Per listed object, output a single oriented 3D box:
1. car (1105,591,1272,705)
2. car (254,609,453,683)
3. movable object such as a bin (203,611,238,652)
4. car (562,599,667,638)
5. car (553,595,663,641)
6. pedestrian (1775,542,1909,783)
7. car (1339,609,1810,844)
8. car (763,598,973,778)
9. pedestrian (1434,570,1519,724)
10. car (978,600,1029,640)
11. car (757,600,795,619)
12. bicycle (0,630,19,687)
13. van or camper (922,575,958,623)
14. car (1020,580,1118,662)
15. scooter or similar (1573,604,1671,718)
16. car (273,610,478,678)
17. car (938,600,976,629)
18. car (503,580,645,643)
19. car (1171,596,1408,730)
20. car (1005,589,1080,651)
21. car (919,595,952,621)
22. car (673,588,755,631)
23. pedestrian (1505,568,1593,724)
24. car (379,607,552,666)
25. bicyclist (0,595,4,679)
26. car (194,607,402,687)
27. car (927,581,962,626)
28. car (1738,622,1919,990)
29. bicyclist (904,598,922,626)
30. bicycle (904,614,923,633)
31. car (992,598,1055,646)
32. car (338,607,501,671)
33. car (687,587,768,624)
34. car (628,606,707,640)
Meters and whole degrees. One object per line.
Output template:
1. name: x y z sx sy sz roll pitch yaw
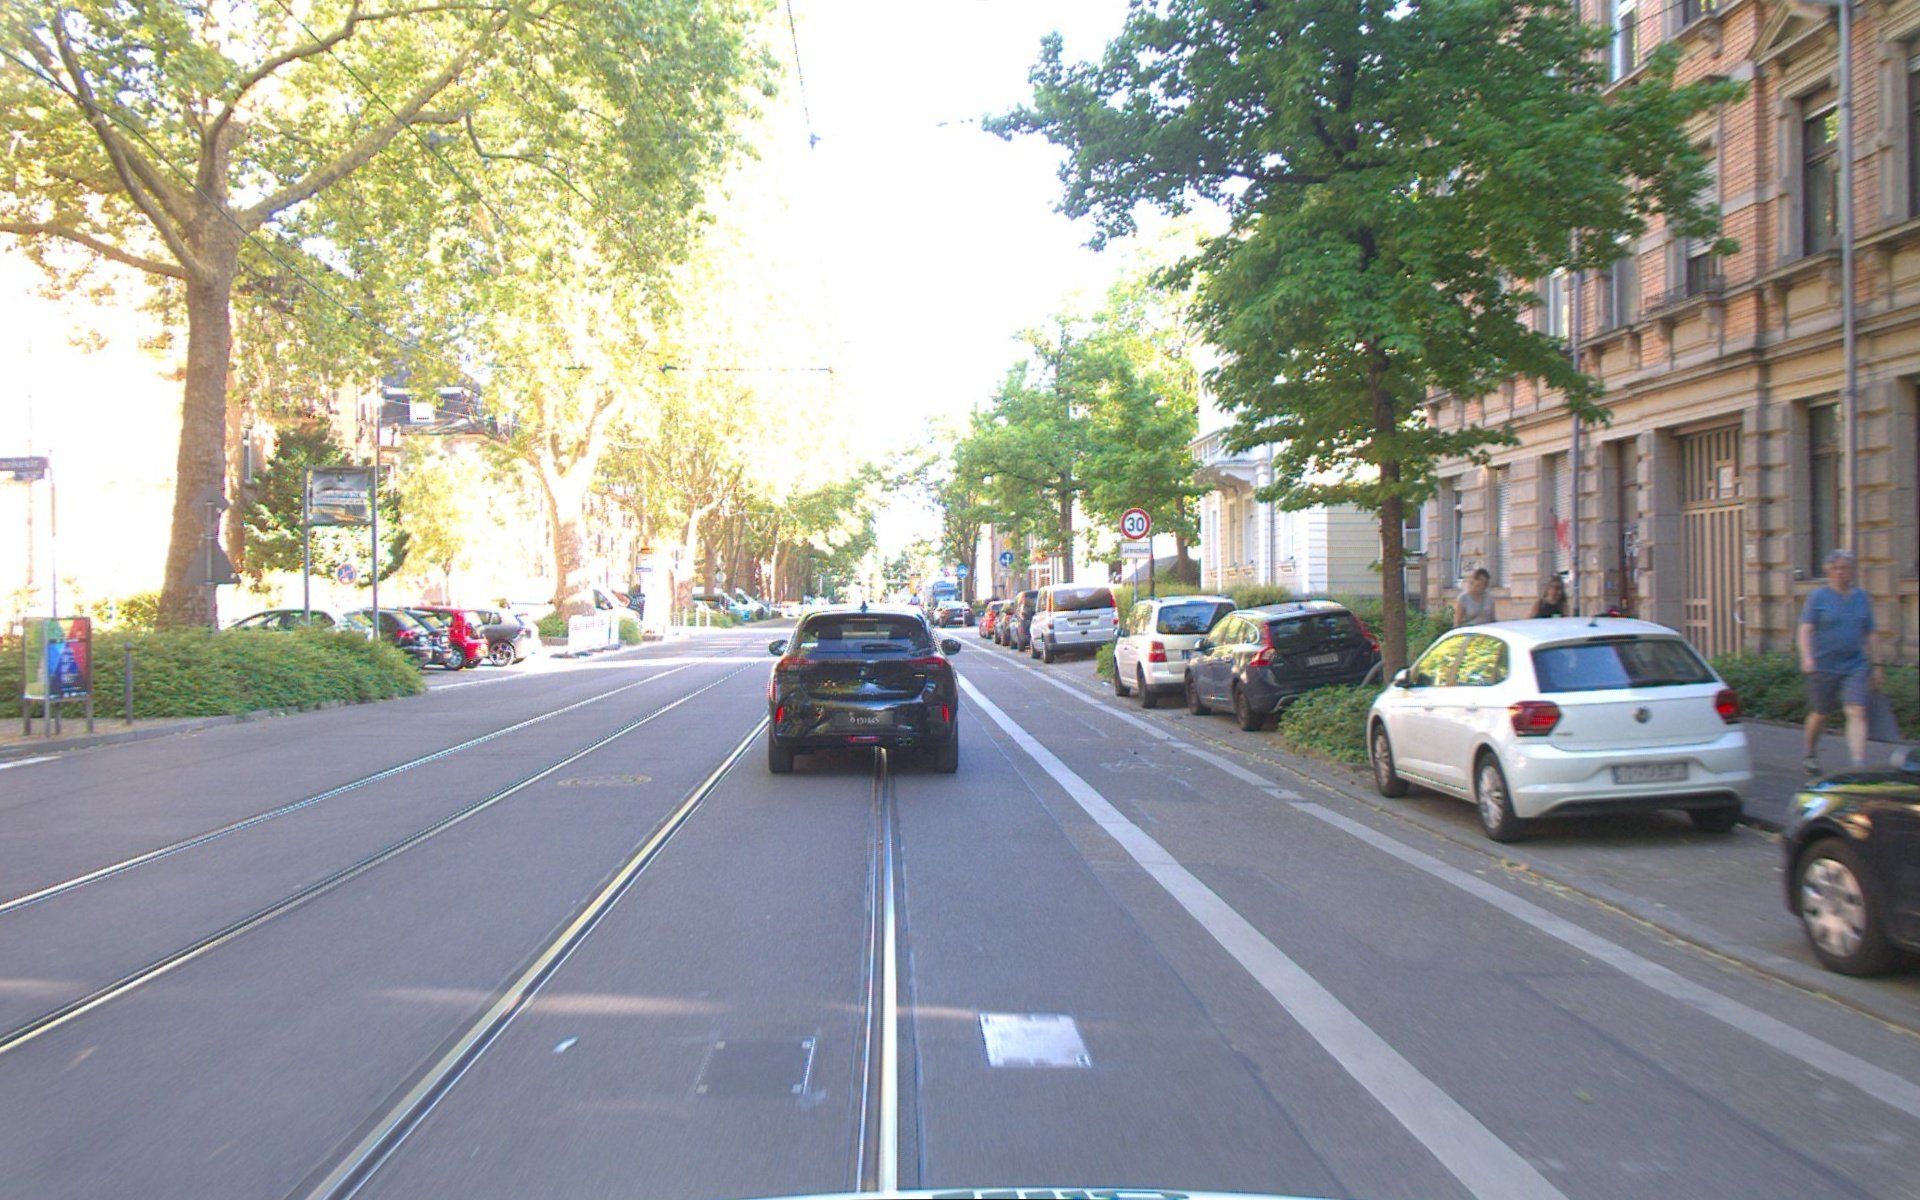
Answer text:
1. car: 3.585 0.727 26.724 1.847 1.595 4.239 -3 0 -3
2. car: -12.639 0.946 34.593 3.528 1.490 1.686 0 0 -1
3. movable object such as a bin: -20.245 0.855 45.303 0.708 1.129 0.560 0 -1 -2
4. car: -14.720 0.785 70.629 4.216 1.635 1.924 0 0 -6
5. car: -14.441 0.734 67.994 4.216 1.833 1.924 0 0 -6
6. pedestrian: 6.833 0.474 12.838 0.711 1.824 0.600 0 -1 -4
7. car: 4.412 0.820 12.640 1.847 1.391 4.104 -3 0 -3
8. car: -0.852 0.743 15.717 1.728 1.486 3.948 0 0 -3
9. pedestrian: 5.907 0.527 18.952 0.711 1.722 0.957 0 -1 2
10. car: 1.707 0.781 65.896 1.669 1.448 3.976 -4 0 -3
11. car: -20.353 1.075 183.307 3.903 2.049 2.001 0 0 3
12. bicycle: -17.667 1.051 29.368 0.951 1.016 2.574 0 0 -13
13. van or camper: -1.403 -0.058 115.851 2.209 3.272 5.527 -2 0 -3
14. car: 2.718 0.509 42.400 1.847 1.883 4.964 -3 0 -3
15. scooter or similar: 7.591 0.679 19.018 0.564 1.268 1.334 0 0 -2
16. car: -13.193 0.976 37.497 3.999 1.490 1.820 0 0 -1
17. car: -0.185 0.783 91.855 1.847 1.459 4.527 -3 0 -3
18. car: -14.445 0.423 62.127 4.936 2.299 2.083 0 0 -6
19. car: 4.214 0.758 21.951 1.847 1.492 4.589 -3 0 -4
20. car: 2.507 0.609 51.388 1.848 1.797 4.675 -1 0 -3
21. car: -1.846 0.597 123.028 2.209 1.873 5.527 -2 0 -3
22. car: -16.041 0.613 107.868 4.936 2.415 2.080 -4 0 -3
23. pedestrian: 6.714 0.516 18.882 0.711 1.739 0.856 0 -1 0
24. car: -12.708 0.925 42.677 3.907 1.490 1.853 0 0 -3
25. bicyclist: -17.702 0.668 29.541 0.786 1.533 1.113 0 0 -13
26. car: -12.882 0.900 32.323 3.350 1.490 1.696 0 0 -1
27. car: -1.051 0.196 109.298 2.043 2.820 4.695 -2 0 -3
28. car: 4.732 0.820 6.105 1.640 1.437 3.839 -3 0 -4
29. bicyclist: -2.662 0.677 93.656 0.939 1.525 1.093 0 0 -4
30. bicycle: -2.664 1.317 93.683 0.949 1.016 2.581 0 0 -4
31. car: 2.156 0.752 57.337 1.678 1.540 4.033 -3 0 -4
32. car: -12.965 0.927 39.812 3.350 1.490 1.759 0 0 -1
33. car: -16.903 0.418 120.549 5.522 2.638 2.196 0 0 1
34. car: -16.541 1.304 93.588 4.223 1.621 1.778 -4 0 -11
